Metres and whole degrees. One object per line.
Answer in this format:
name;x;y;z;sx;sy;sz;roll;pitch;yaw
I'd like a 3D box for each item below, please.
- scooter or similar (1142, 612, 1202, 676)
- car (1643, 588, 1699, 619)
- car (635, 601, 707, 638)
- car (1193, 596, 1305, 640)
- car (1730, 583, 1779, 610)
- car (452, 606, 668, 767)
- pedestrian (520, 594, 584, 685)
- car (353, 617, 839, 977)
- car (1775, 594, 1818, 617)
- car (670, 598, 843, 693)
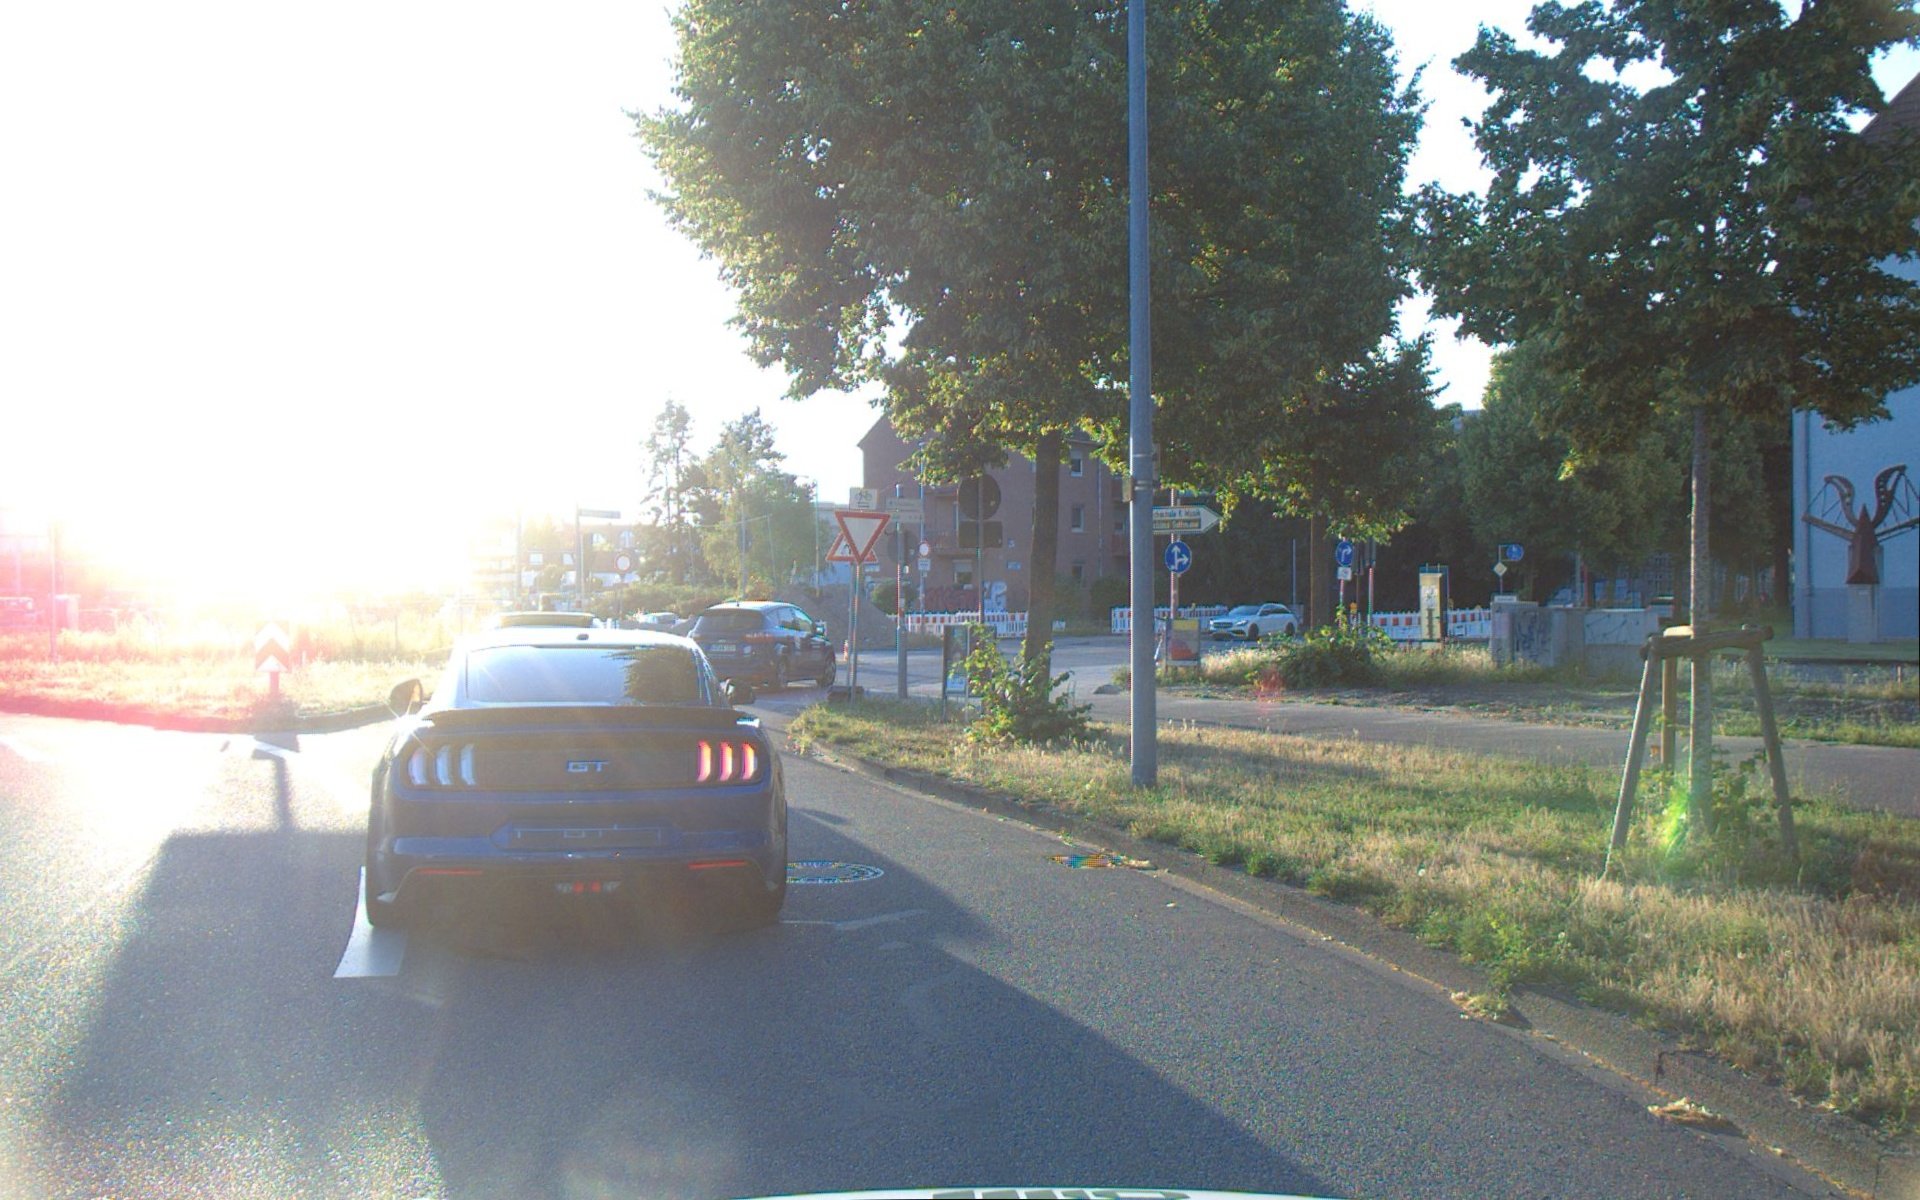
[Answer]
scooter or similar;4.230;0.876;32.966;1.100;1.260;0.441;0;0;-13
car;38.430;0.165;89.355;1.919;1.630;4.060;0;0;37
car;-13.771;0.922;78.703;1.976;1.736;3.953;0;0;-34
car;11.382;0.682;64.929;2.041;1.478;4.624;5;4;44
car;50.230;-0.214;104.548;1.921;1.630;4.057;0;0;39
car;-4.319;0.855;17.529;1.920;1.452;4.409;2;-2;-16
pedestrian;-7.860;0.747;31.875;0.868;1.716;0.844;0;0;31
car;-2.080;0.792;8.934;1.920;1.365;4.649;0;0;-16
car;58.674;0.382;115.994;1.921;1.630;4.057;0;0;39
car;-3.725;0.789;31.005;1.910;1.630;4.081;1;0;13
